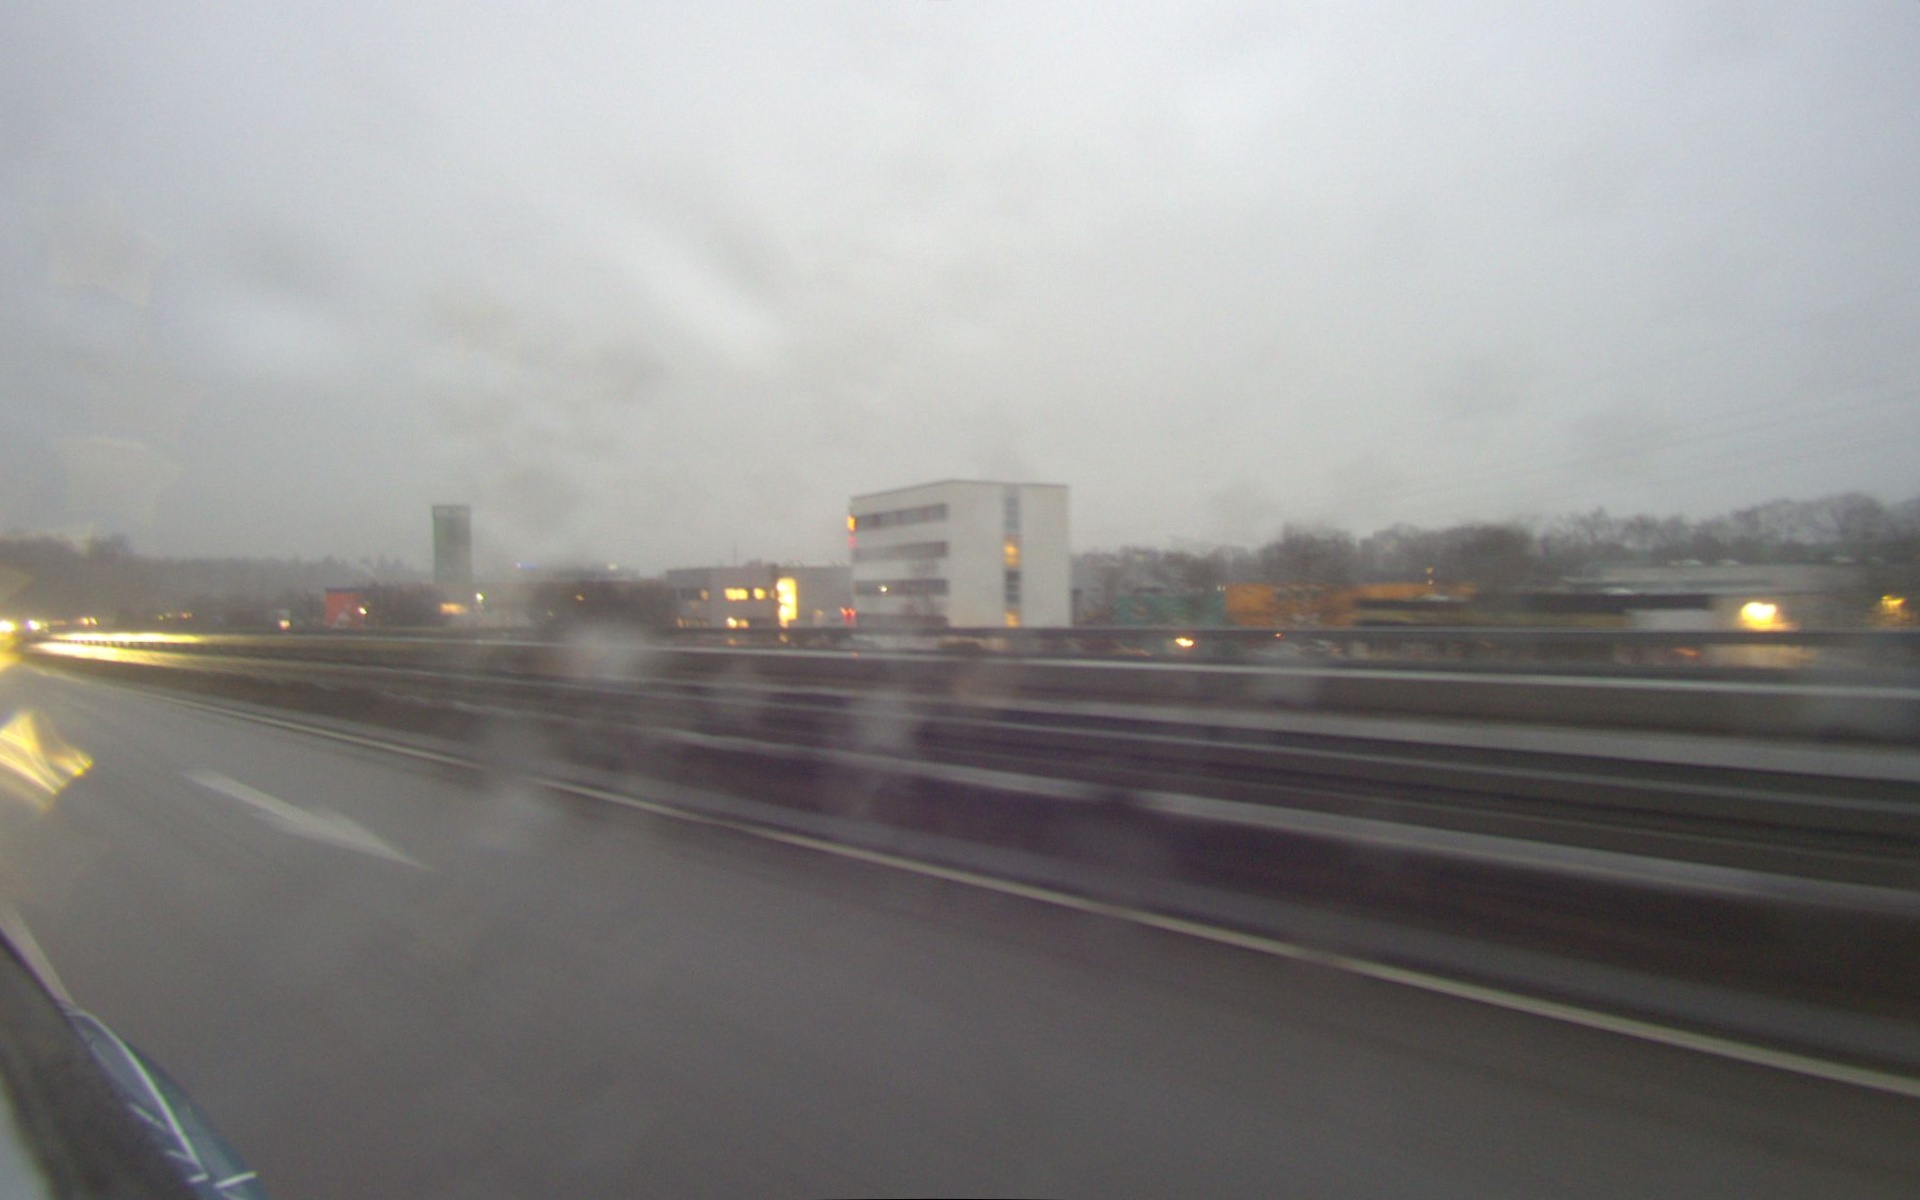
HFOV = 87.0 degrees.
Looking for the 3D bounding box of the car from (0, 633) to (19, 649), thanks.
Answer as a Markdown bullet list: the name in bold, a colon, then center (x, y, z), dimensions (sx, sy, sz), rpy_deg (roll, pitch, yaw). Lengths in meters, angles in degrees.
- **car**: center (-112.260, 4.822, 119.207), dimensions (1.970, 1.863, 3.675), rpy_deg (0, -1, -44)
